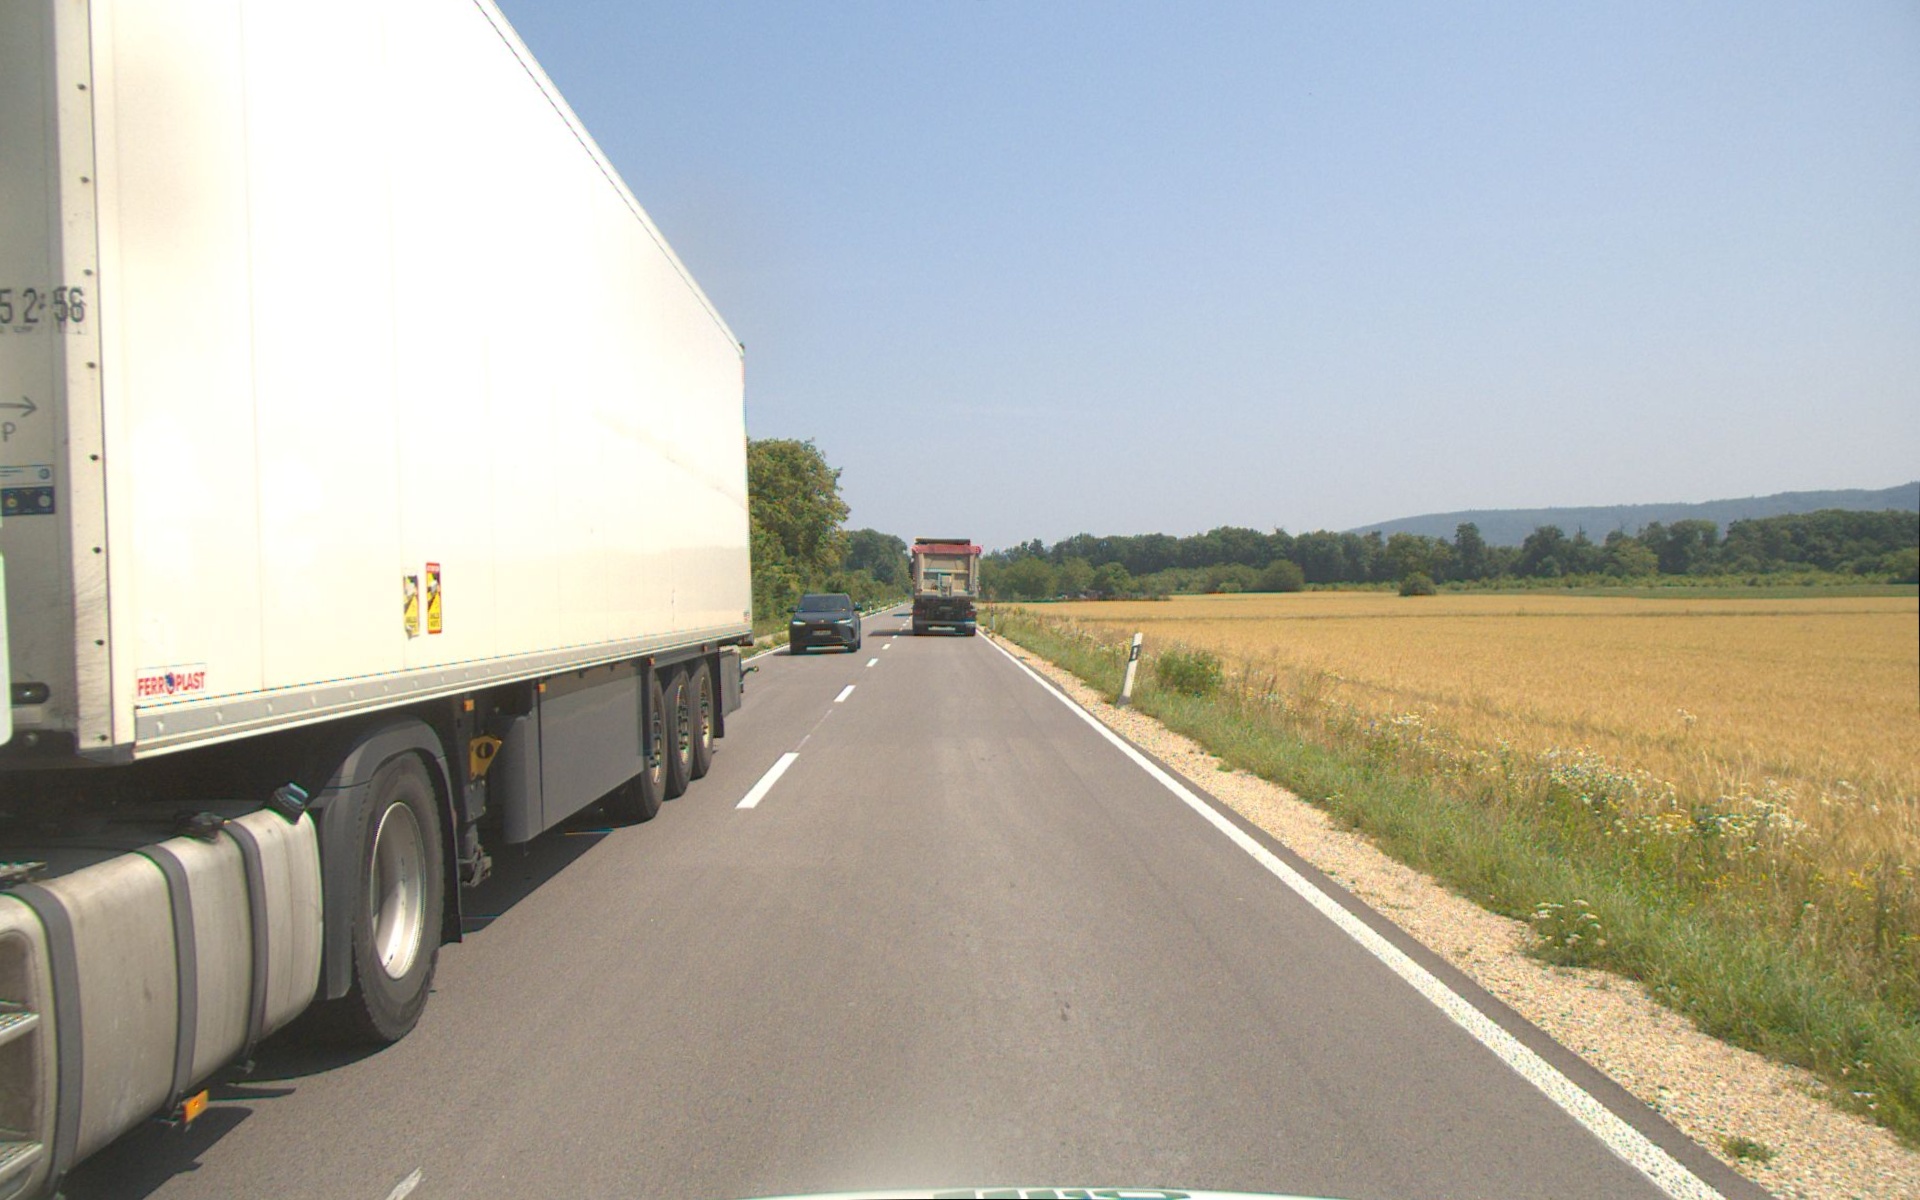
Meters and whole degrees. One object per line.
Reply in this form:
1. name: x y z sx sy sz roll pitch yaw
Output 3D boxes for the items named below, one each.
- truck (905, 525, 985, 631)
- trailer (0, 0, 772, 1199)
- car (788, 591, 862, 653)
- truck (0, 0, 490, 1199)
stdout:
1. truck: -0.650 -0.800 68.347 2.948 3.942 12.206 1 0 -1
2. trailer: -3.231 -0.536 10.737 2.600 4.046 13.351 -2 0 -1
3. car: -3.737 0.580 46.464 1.756 1.601 4.478 -2 0 -1
4. truck: -3.117 -0.488 3.442 2.602 4.046 5.726 -2 0 -1
